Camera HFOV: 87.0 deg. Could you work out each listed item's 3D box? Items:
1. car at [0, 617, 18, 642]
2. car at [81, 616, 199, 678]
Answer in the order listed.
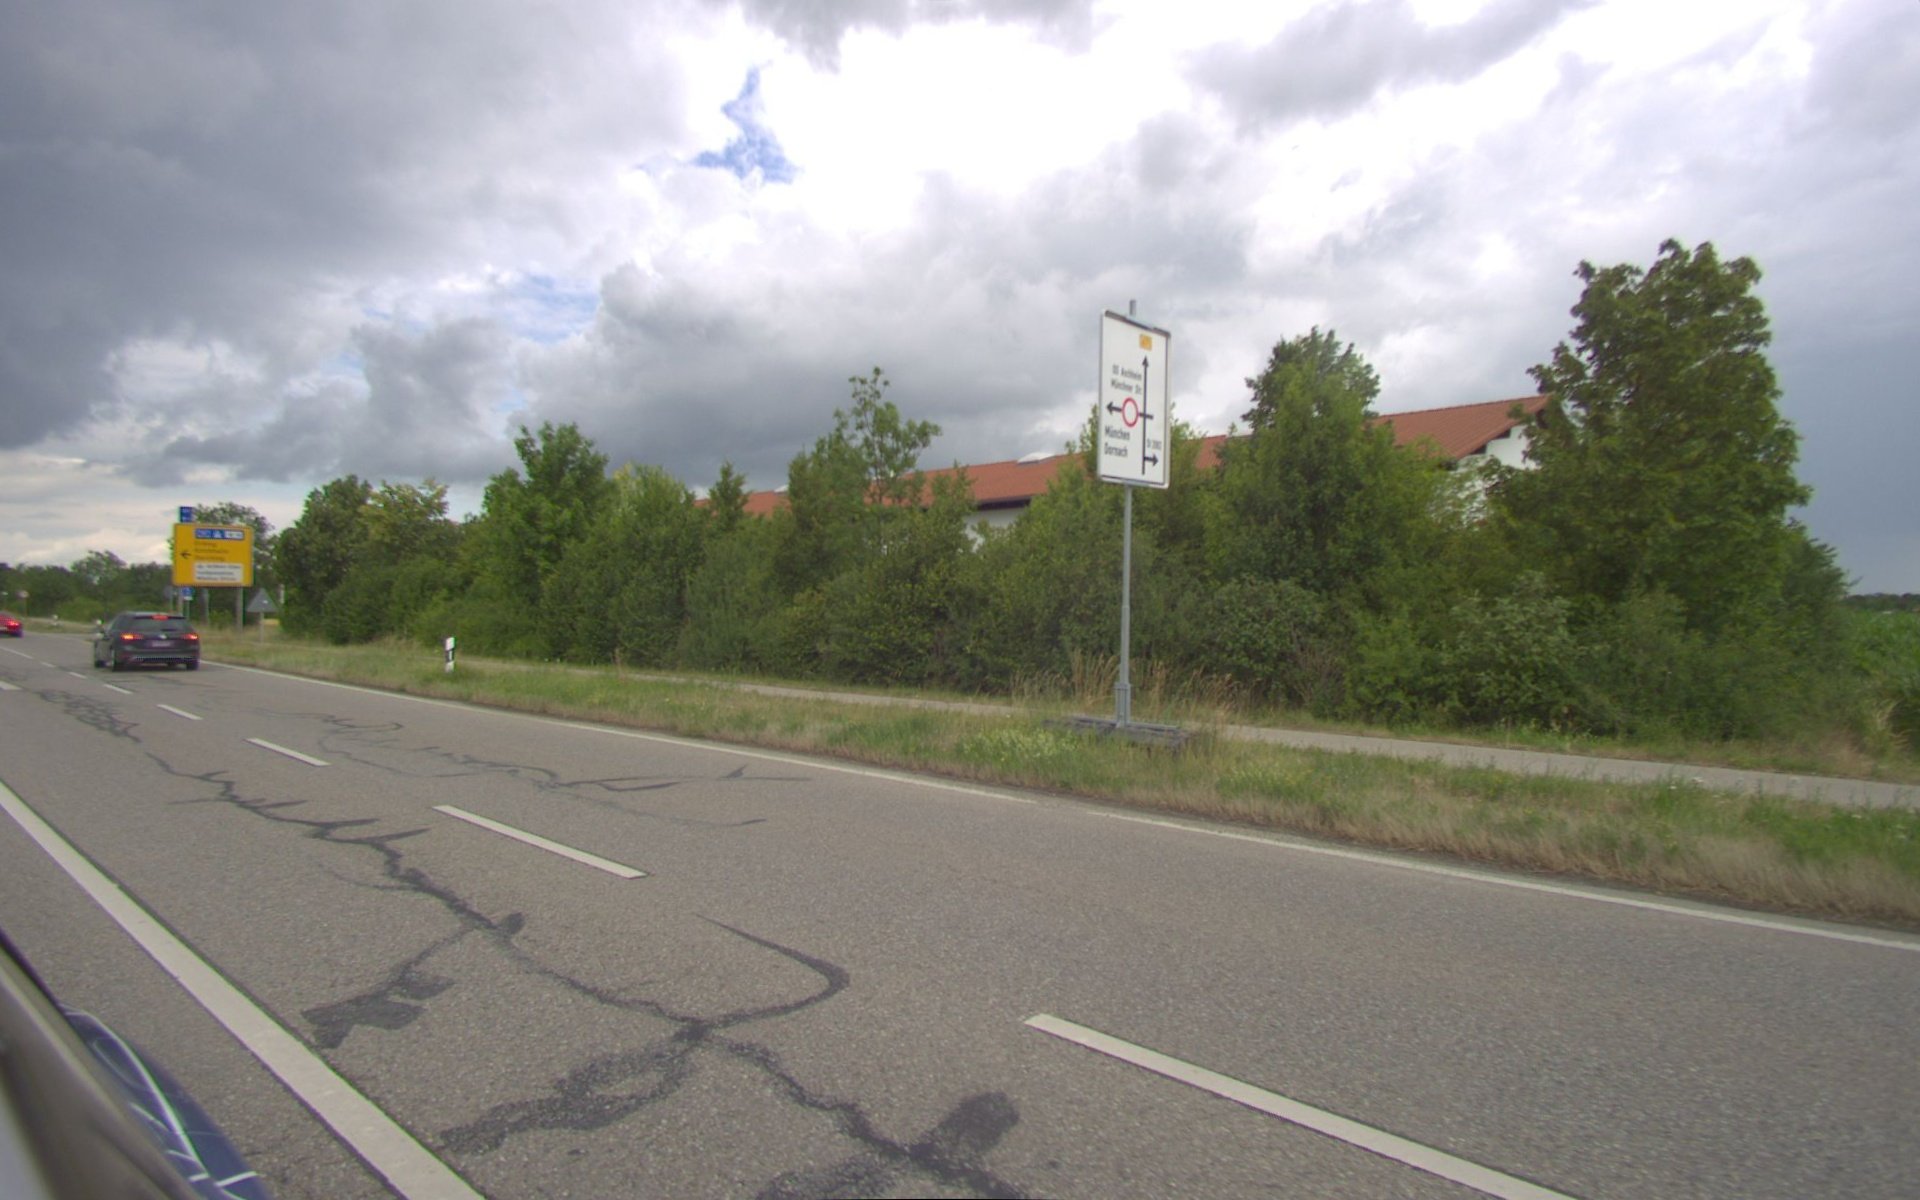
[{"bbox_3d":[-49.042,1.477,51.149,4.211,1.250,1.752,-1,-2,43],"label":"car"},{"bbox_3d":[-20.871,1.159,25.704,4.302,1.440,1.651,-1,-3,42],"label":"car"}]
